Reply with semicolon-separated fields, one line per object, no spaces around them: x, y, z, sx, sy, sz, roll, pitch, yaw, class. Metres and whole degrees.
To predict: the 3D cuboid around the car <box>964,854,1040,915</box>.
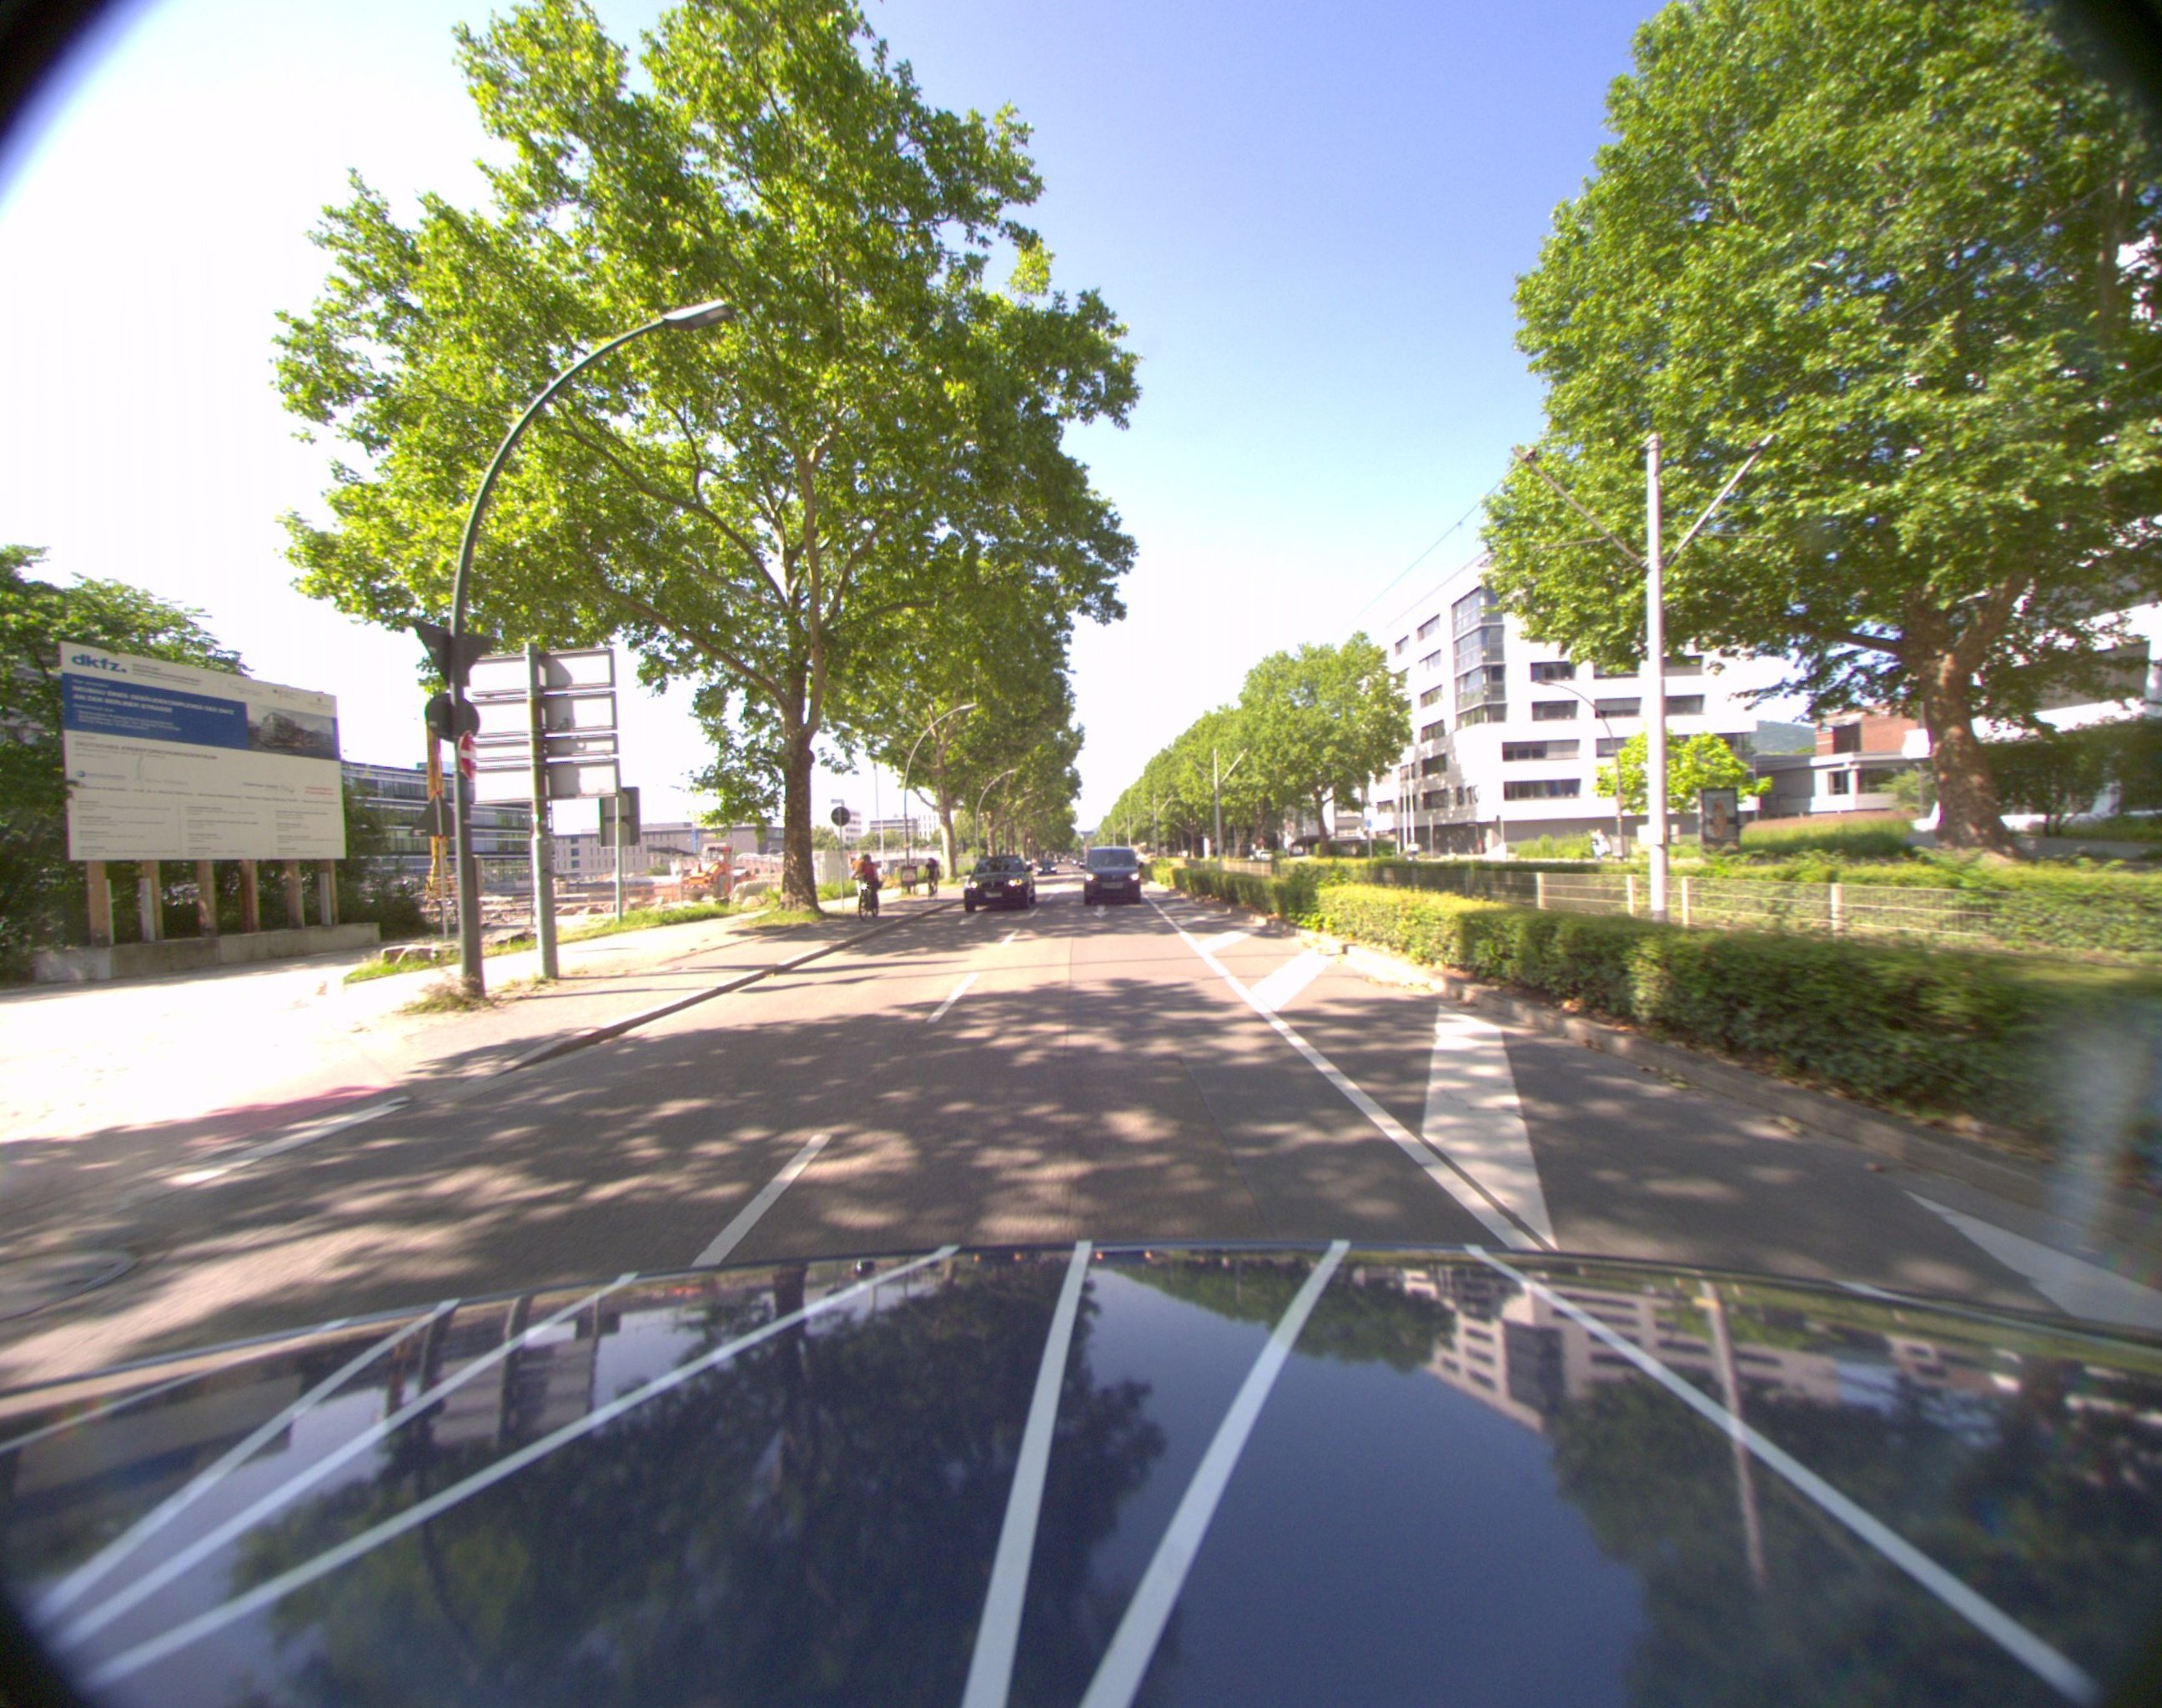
-2.462;0.905;24.698;1.924;1.720;4.151;-3;0;0;car

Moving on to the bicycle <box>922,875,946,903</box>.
-5.564;1.320;28.765;0.599;0.974;1.781;0;0;-1;bicycle

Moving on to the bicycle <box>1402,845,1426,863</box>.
21.702;-0.010;49.533;0.666;1.117;2.031;-3;0;1;bicycle

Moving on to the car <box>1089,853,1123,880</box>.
1.542;0.743;48.067;1.924;1.543;4.151;-3;0;0;car

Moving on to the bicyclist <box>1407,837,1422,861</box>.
21.669;-0.316;49.354;0.656;1.526;0.641;-3;1;1;bicyclist

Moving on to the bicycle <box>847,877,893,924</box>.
-5.592;1.203;20.262;0.653;1.123;1.945;-1;0;0;bicycle

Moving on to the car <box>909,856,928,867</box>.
-38.708;1.742;181.147;3.998;2.308;1.808;-3;0;-3;car

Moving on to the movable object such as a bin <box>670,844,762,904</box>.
-20.619;1.060;43.269;2.376;3.054;5.984;-3;0;-2;movable object such as a bin

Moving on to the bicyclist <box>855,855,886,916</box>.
-5.607;0.823;20.265;0.621;1.590;0.732;-1;0;-1;bicyclist

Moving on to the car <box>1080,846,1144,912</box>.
0.950;0.713;23.969;1.789;1.839;4.000;-2;0;1;car

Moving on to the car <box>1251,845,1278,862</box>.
18.091;-0.074;75.045;1.761;1.560;4.019;-3;0;1;car

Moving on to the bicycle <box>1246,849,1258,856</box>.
27.504;-0.292;122.158;1.770;1.096;0.421;-3;0;-1;bicycle

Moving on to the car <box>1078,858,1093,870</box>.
0.569;1.254;98.483;1.854;1.418;4.152;-3;0;1;car

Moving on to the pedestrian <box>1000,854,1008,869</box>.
-9.120;0.890;90.141;0.711;1.714;1.066;-3;0;-1;pedestrian

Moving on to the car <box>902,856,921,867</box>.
-38.827;1.771;174.254;3.998;2.308;1.808;-3;0;-3;car

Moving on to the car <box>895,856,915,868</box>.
-38.472;1.786;166.218;3.998;2.308;1.808;-3;0;-3;car

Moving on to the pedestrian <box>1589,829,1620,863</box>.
25.000;-0.390;36.293;0.722;1.579;1.015;-3;1;1;pedestrian

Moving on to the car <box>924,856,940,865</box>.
-39.593;1.704;201.738;3.998;2.308;1.808;-3;0;-3;car

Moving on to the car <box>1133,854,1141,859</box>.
16.299;0.766;221.532;1.860;1.445;3.999;-2;0;-1;car

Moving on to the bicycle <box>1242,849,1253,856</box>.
27.309;-0.293;124.536;1.770;1.096;0.421;-3;0;-1;bicycle

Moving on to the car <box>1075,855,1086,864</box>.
-0.024;1.004;143.252;1.854;1.418;4.152;-3;0;1;car

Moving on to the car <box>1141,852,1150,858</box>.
15.657;0.236;185.617;1.820;1.482;3.912;-1;0;-1;car

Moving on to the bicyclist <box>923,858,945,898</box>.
-5.562;0.891;28.826;0.600;1.481;1.215;0;0;-1;bicyclist

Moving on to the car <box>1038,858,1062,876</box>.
-2.777;1.169;69.633;1.854;1.418;4.152;-3;0;1;car

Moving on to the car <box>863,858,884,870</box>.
-43.778;2.014;160.330;3.998;2.308;1.808;-3;0;-3;car

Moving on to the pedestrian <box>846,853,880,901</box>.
-8.890;0.909;31.053;0.941;1.881;1.151;-3;1;1;pedestrian

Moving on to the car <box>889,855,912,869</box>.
-38.144;1.605;160.463;4.375;2.723;1.808;-3;0;-3;car

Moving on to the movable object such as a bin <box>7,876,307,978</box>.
-59.906;4.458;50.241;6.739;5.146;11.797;-3;1;43;movable object such as a bin
